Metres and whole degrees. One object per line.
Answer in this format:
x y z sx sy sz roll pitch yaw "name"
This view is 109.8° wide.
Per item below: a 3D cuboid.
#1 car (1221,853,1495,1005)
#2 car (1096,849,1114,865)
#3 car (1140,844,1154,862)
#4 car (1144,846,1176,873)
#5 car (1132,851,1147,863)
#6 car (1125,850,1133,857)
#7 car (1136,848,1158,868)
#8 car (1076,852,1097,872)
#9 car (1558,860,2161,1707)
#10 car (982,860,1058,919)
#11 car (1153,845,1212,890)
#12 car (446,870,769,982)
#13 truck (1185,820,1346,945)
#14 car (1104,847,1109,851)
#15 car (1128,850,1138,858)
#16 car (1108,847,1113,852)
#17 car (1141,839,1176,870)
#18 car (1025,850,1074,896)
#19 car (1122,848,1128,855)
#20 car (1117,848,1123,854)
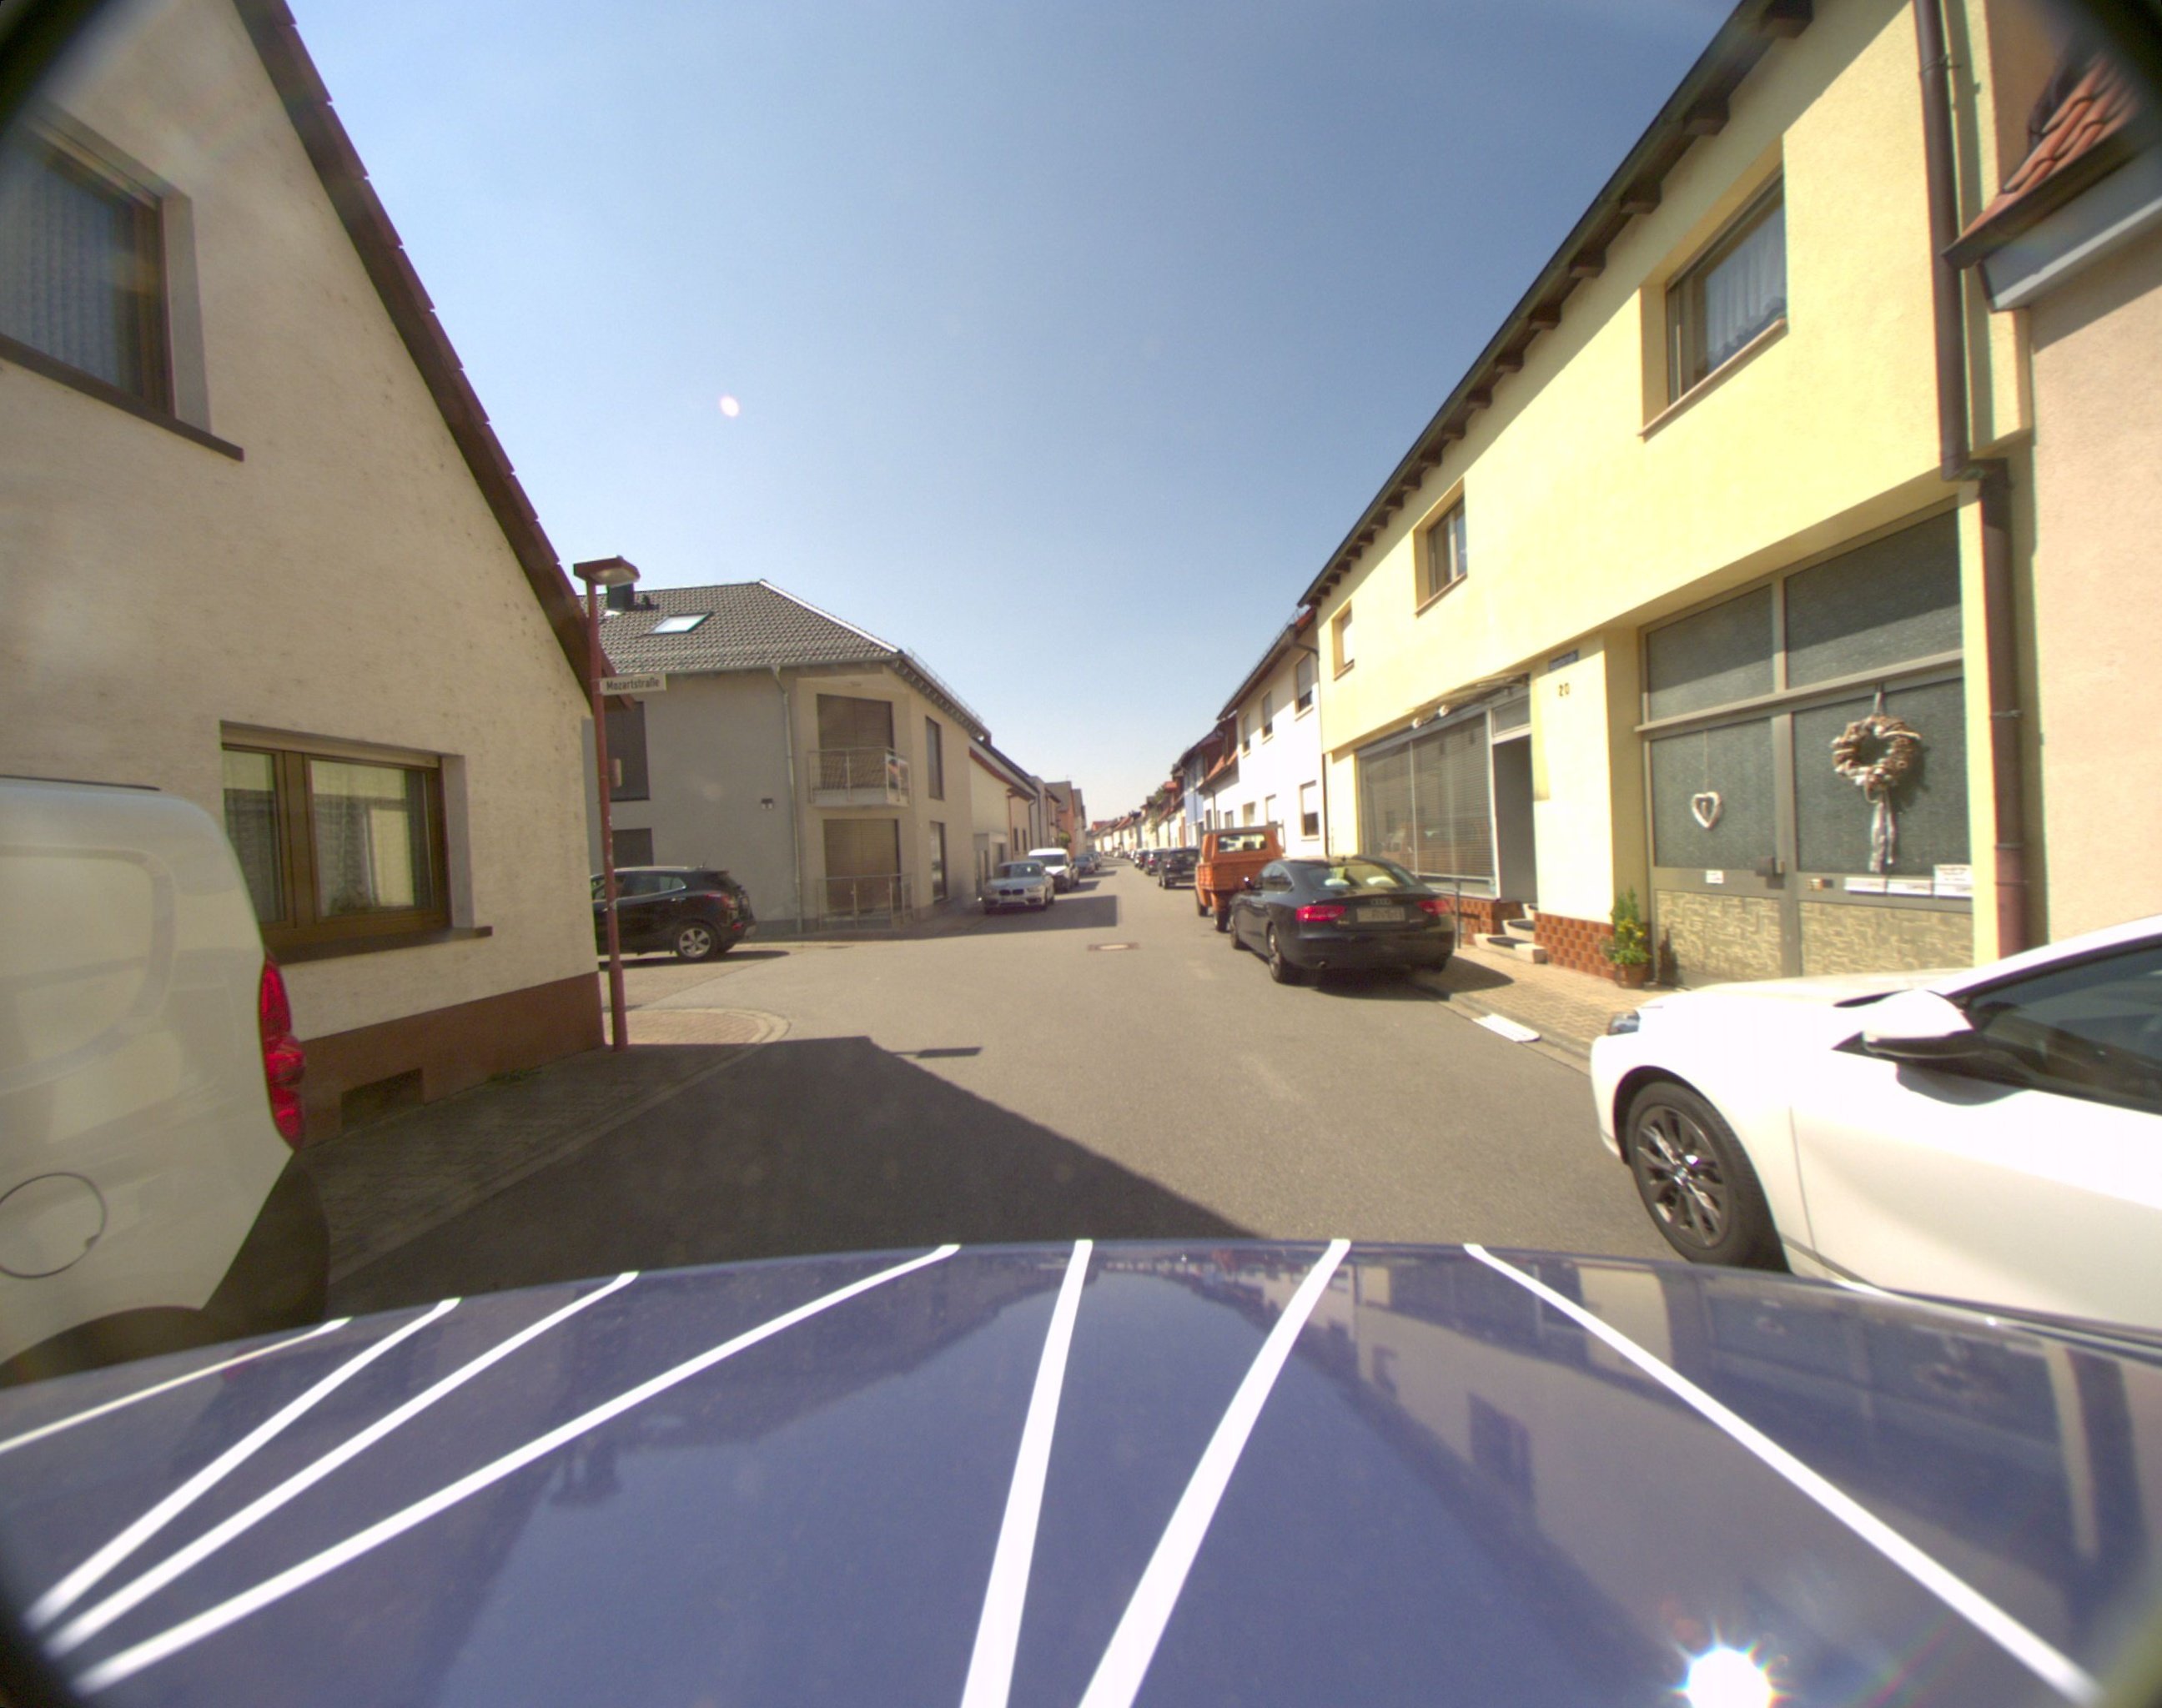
3.095 0.723 9.660 1.926 1.386 4.631 0 1 2 "car"
2.611 0.304 82.793 1.849 1.523 3.549 -3 0 2 "car"
6.859 -0.115 79.125 1.295 1.820 2.964 -3 0 3 "car"
4.905 0.320 47.697 1.724 1.493 4.215 -3 0 3 "car"
5.520 0.284 71.341 1.295 1.070 2.765 -3 0 3 "car"
8.015 -0.083 127.373 1.295 1.177 2.964 -3 0 3 "car"
5.562 0.333 64.301 1.676 1.565 4.109 -3 0 3 "car"
0.460 0.572 58.595 1.521 1.417 3.864 -3 0 2 "car"
2.838 0.831 1.126 1.786 1.446 4.215 -3 1 4 "car"
-1.691 0.971 22.309 1.637 1.360 3.928 -5 1 3 "car"
3.992 0.507 30.413 1.849 1.605 4.000 -3 0 2 "car"
-7.803 1.142 12.946 4.281 1.573 1.761 -2 -1 -11 "car"
3.425 0.430 15.233 2.187 2.002 5.080 -3 1 3 "truck"
7.224 -1.357 218.079 1.295 1.177 2.964 -3 0 3 "car"
7.687 -0.031 111.930 1.295 1.177 2.964 -3 0 3 "car"
7.613 -1.104 198.021 1.295 1.177 2.964 -3 0 3 "car"
5.641 0.006 55.819 1.999 2.002 3.998 -3 2 -1 "car"
-1.249 0.721 31.380 1.684 1.719 3.787 -3 0 2 "car"
8.682 -0.529 150.104 1.295 1.177 2.964 -3 0 3 "car"
8.619 -0.609 166.804 1.295 1.177 2.964 -3 0 3 "car"
